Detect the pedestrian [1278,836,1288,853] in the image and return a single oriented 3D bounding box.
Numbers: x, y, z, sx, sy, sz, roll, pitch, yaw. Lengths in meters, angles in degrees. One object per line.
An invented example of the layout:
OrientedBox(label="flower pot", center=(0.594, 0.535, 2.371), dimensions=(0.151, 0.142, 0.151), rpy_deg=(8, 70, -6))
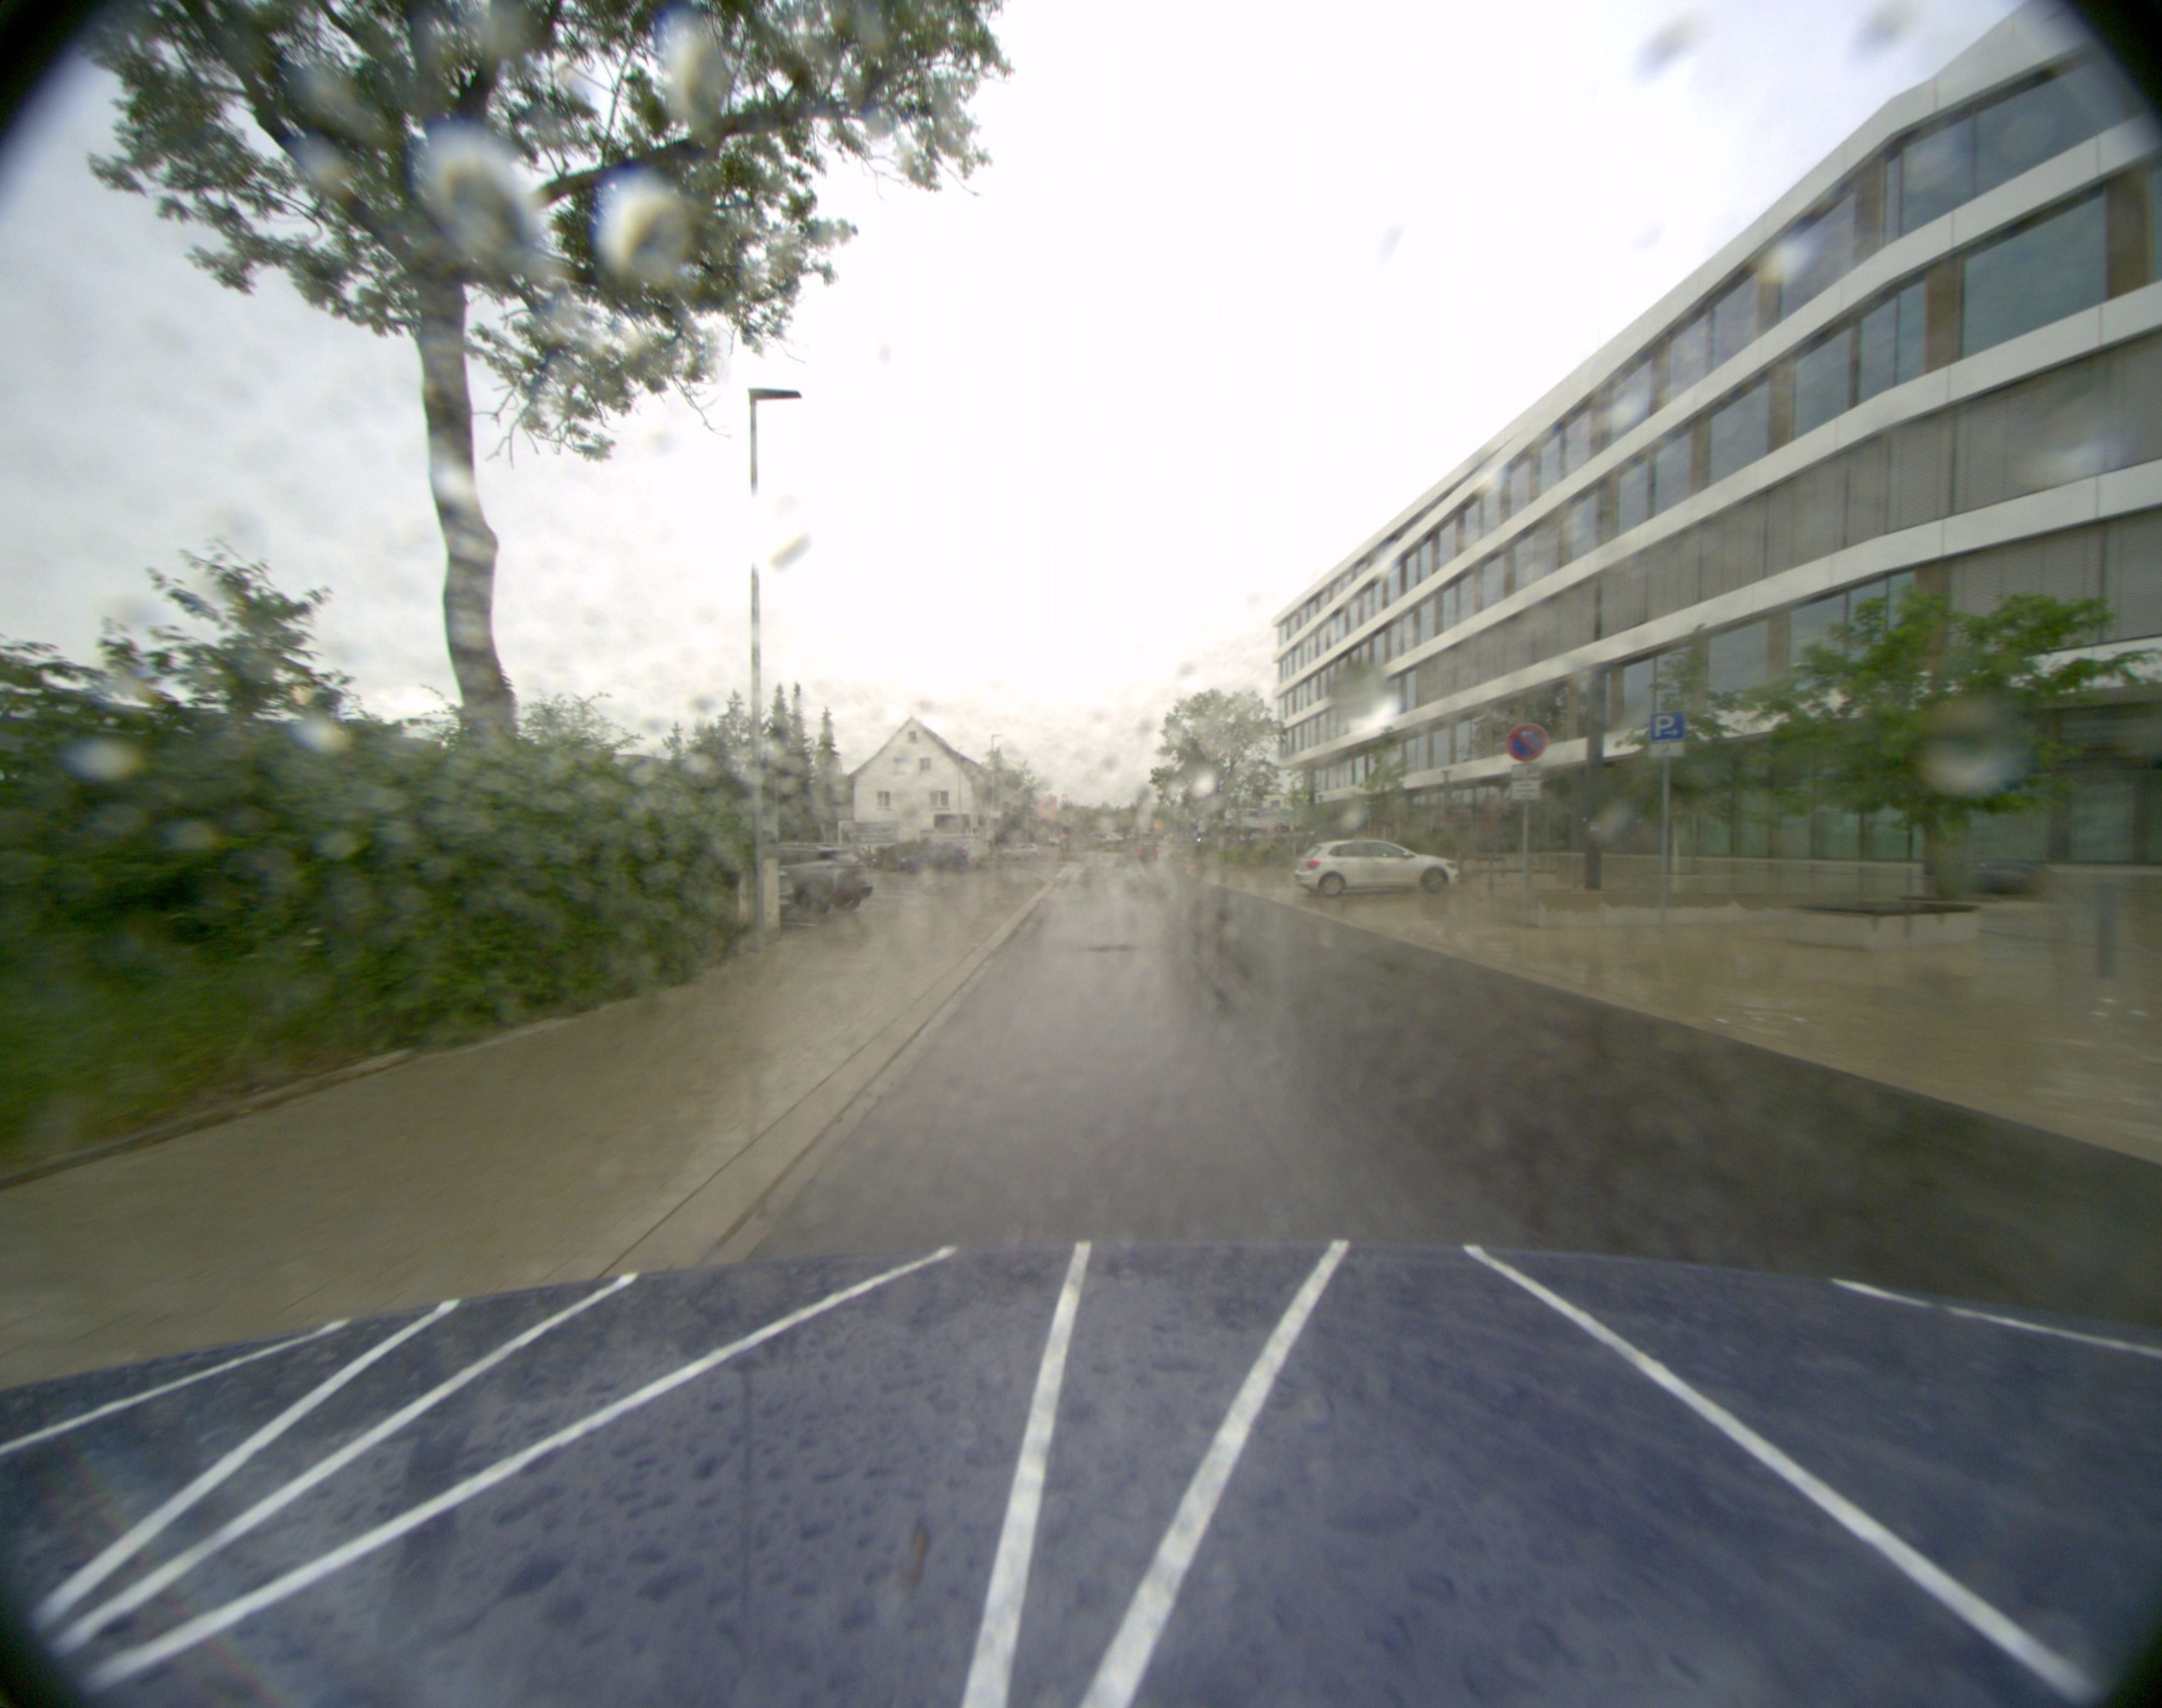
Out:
OrientedBox(label="pedestrian", center=(21.978, -1.045, 82.737), dimensions=(0.726, 1.694, 0.956), rpy_deg=(-4, 3, 4))

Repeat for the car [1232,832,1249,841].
OrientedBox(label="car", center=(26.625, -2.883, 126.709), dimensions=(1.883, 1.288, 4.006), rpy_deg=(-3, 1, 25))

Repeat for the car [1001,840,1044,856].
OrientedBox(label="car", center=(-6.001, -0.584, 77.962), dimensions=(4.144, 1.571, 1.997), rpy_deg=(1, 1, -13))

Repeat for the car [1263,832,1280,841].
OrientedBox(label="car", center=(31.314, -2.876, 125.016), dimensions=(1.883, 1.288, 4.006), rpy_deg=(-3, 1, 25))

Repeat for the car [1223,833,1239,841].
OrientedBox(label="car", center=(27.646, -3.177, 140.291), dimensions=(1.883, 1.288, 4.006), rpy_deg=(-3, 1, 25))

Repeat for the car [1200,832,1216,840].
OrientedBox(label="car", center=(25.610, -3.553, 152.966), dimensions=(1.916, 1.521, 4.006), rpy_deg=(-2, 1, 27))

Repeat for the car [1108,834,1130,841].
OrientedBox(label="car", center=(7.753, -3.436, 155.682), dimensions=(3.990, 1.434, 2.003), rpy_deg=(-1, 1, 25))

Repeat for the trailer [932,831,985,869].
OrientedBox(label="trailer", center=(-7.064, -0.238, 43.811), dimensions=(2.708, 2.159, 1.548), rpy_deg=(-1, 1, 3))

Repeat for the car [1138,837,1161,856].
OrientedBox(label="car", center=(6.809, -0.802, 75.659), dimensions=(2.008, 1.807, 4.979), rpy_deg=(-1, 1, 2))

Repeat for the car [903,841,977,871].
OrientedBox(label="car", center=(-7.636, 0.094, 41.375), dimensions=(3.735, 1.520, 1.649), rpy_deg=(1, 2, 1))

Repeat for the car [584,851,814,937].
OrientedBox(label="car", center=(-7.362, 0.709, 14.817), dimensions=(3.627, 1.486, 1.807), rpy_deg=(1, 1, 10))

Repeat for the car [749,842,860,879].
OrientedBox(label="car", center=(-12.472, 0.272, 34.498), dimensions=(4.366, 1.642, 1.844), rpy_deg=(0, 1, -1))

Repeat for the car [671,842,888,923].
OrientedBox(label="car", center=(-6.882, 0.587, 17.530), dimensions=(4.214, 1.640, 2.001), rpy_deg=(1, 2, 11))

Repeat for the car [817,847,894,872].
OrientedBox(label="car", center=(-12.430, 0.302, 41.975), dimensions=(3.736, 1.308, 1.692), rpy_deg=(-1, 1, -2))

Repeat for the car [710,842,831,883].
OrientedBox(label="car", center=(-13.026, 0.335, 32.031), dimensions=(4.365, 1.649, 1.785), rpy_deg=(0, 1, 2))

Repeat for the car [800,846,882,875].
OrientedBox(label="car", center=(-12.461, 0.304, 39.592), dimensions=(3.736, 1.441, 1.730), rpy_deg=(-1, 1, -2))

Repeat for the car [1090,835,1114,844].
OrientedBox(label="car", center=(4.050, -2.861, 146.287), dimensions=(4.095, 1.696, 2.003), rpy_deg=(0, 1, 29))

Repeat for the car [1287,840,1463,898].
OrientedBox(label="car", center=(7.642, 0.354, 20.057), dimensions=(3.937, 1.415, 1.898), rpy_deg=(-1, 1, 2))

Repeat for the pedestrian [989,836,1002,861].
OrientedBox(label="pedestrian", center=(-6.985, -0.472, 61.912), dimensions=(0.861, 2.002, 1.194), rpy_deg=(2, 2, -1))
